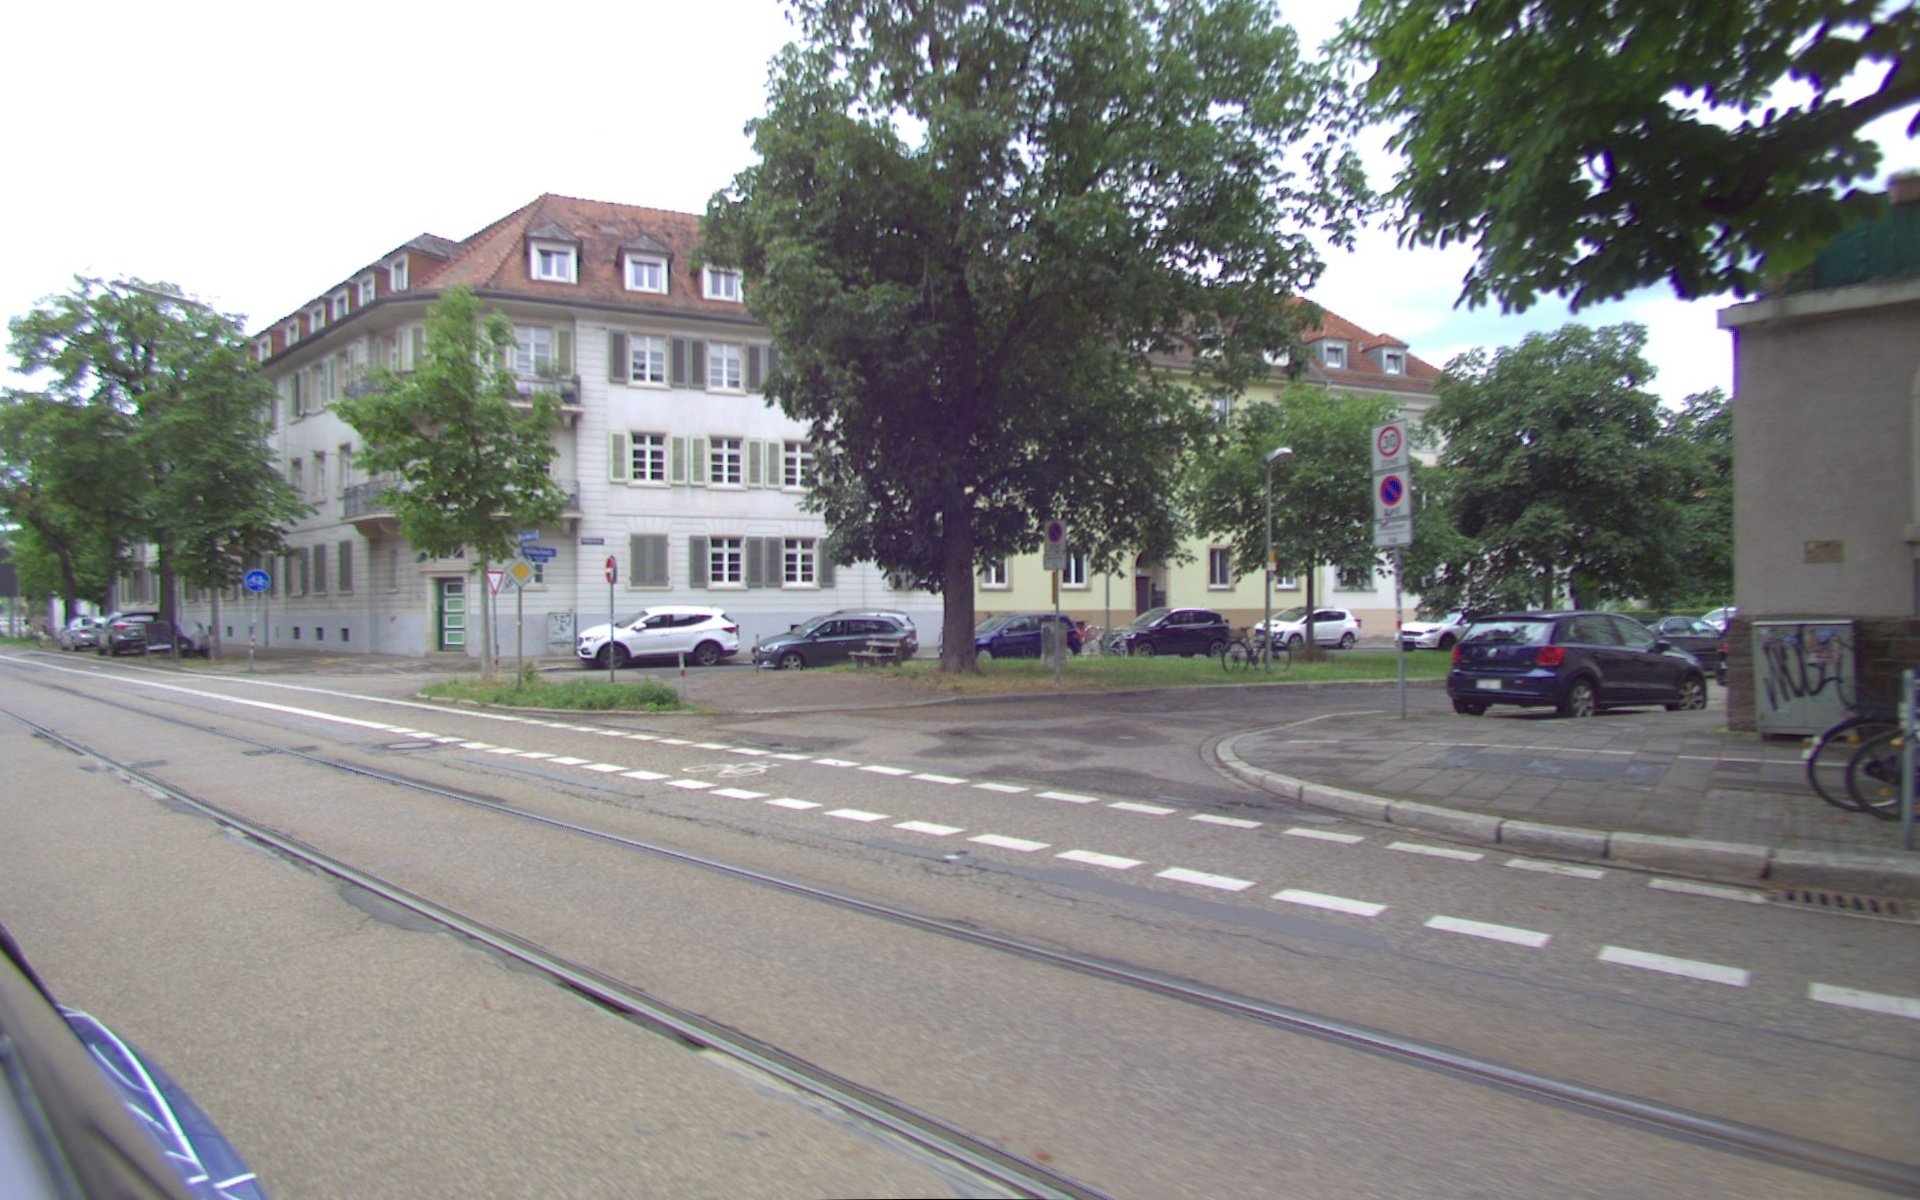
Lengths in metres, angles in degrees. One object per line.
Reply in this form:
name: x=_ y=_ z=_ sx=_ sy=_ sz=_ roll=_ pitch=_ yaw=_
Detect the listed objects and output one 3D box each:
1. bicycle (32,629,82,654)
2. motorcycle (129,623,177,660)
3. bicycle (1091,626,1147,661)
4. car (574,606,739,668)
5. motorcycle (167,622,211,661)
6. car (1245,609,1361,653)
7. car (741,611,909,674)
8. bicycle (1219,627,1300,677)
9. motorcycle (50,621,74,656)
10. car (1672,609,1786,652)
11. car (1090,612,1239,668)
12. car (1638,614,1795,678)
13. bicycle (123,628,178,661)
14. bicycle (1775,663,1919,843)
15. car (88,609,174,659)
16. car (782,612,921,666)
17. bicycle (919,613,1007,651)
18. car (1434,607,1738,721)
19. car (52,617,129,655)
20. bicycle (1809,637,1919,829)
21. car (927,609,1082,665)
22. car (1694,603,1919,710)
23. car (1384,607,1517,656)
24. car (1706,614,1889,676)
bicycle: x=-44.598 y=2.058 z=50.007 sx=1.718 sy=1.137 sz=0.519 roll=-3 pitch=0 yaw=-32
motorcycle: x=-28.678 y=1.462 z=35.970 sx=1.270 sy=1.231 sz=0.548 roll=-2 pitch=0 yaw=-43
bicycle: x=4.261 y=1.156 z=27.092 sx=1.371 sy=0.903 sz=0.582 roll=0 pitch=-1 yaw=-22
car: x=-8.936 y=1.047 z=29.823 sx=4.438 sy=1.675 sz=1.945 roll=-1 pitch=-1 yaw=-24
motorcycle: x=-25.506 y=1.361 z=33.476 sx=2.137 sy=1.267 sz=0.535 roll=-1 pitch=-1 yaw=35
car: x=13.151 y=1.142 z=38.792 sx=4.080 sy=1.563 sz=1.778 roll=0 pitch=0 yaw=-24
car: x=-3.498 y=1.049 z=26.158 sx=4.000 sy=1.421 sz=1.667 roll=-1 pitch=0 yaw=-20
bicycle: x=6.246 y=1.068 z=21.082 sx=1.645 sy=0.931 sz=0.450 roll=-1 pitch=6 yaw=-21
motorcycle: x=-43.103 y=1.823 z=48.585 sx=0.822 sy=1.655 sz=2.483 roll=0 pitch=-1 yaw=-41
car: x=30.573 y=1.171 z=40.228 sx=4.117 sy=1.564 sz=1.769 roll=-1 pitch=0 yaw=-23
car: x=6.131 y=1.162 z=30.316 sx=4.117 sy=1.491 sz=1.708 roll=-1 pitch=0 yaw=-23
car: x=17.010 y=0.994 z=22.776 sx=2.916 sy=1.309 sz=1.360 roll=-1 pitch=0 yaw=-18
bicycle: x=-28.137 y=1.522 z=35.174 sx=0.930 sy=1.012 sz=1.361 roll=-2 pitch=2 yaw=45
bicycle: x=5.568 y=0.865 z=5.747 sx=1.393 sy=0.965 sz=0.480 roll=-1 pitch=-1 yaw=32
car: x=-31.238 y=1.255 z=38.103 sx=4.292 sy=1.673 sz=1.818 roll=-2 pitch=1 yaw=42
car: x=-3.422 y=1.186 z=31.899 sx=3.978 sy=1.524 sz=1.744 roll=-1 pitch=0 yaw=-23
bicycle: x=0.112 y=1.132 z=36.625 sx=3.072 sy=1.238 sz=0.886 roll=-1 pitch=2 yaw=-23
car: x=8.370 y=0.777 z=13.529 sx=3.696 sy=1.317 sz=1.747 roll=0 pitch=-1 yaw=-26
car: x=-37.355 y=1.525 z=43.432 sx=4.610 sy=1.477 sz=1.793 roll=-2 pitch=0 yaw=40
bicycle: x=6.533 y=0.793 z=6.160 sx=1.925 sy=1.144 sz=0.671 roll=-2 pitch=-2 yaw=25
car: x=1.246 y=0.989 z=28.128 sx=3.940 sy=1.356 sz=1.671 roll=-1 pitch=0 yaw=-23
car: x=13.655 y=0.820 z=15.979 sx=3.877 sy=1.475 sz=1.712 roll=-1 pitch=-1 yaw=-27
car: x=16.766 y=1.061 z=34.602 sx=4.116 sy=1.564 sz=1.808 roll=0 pitch=-2 yaw=-23
car: x=21.184 y=1.092 z=25.630 sx=3.931 sy=1.420 sz=1.678 roll=-1 pitch=0 yaw=-18
